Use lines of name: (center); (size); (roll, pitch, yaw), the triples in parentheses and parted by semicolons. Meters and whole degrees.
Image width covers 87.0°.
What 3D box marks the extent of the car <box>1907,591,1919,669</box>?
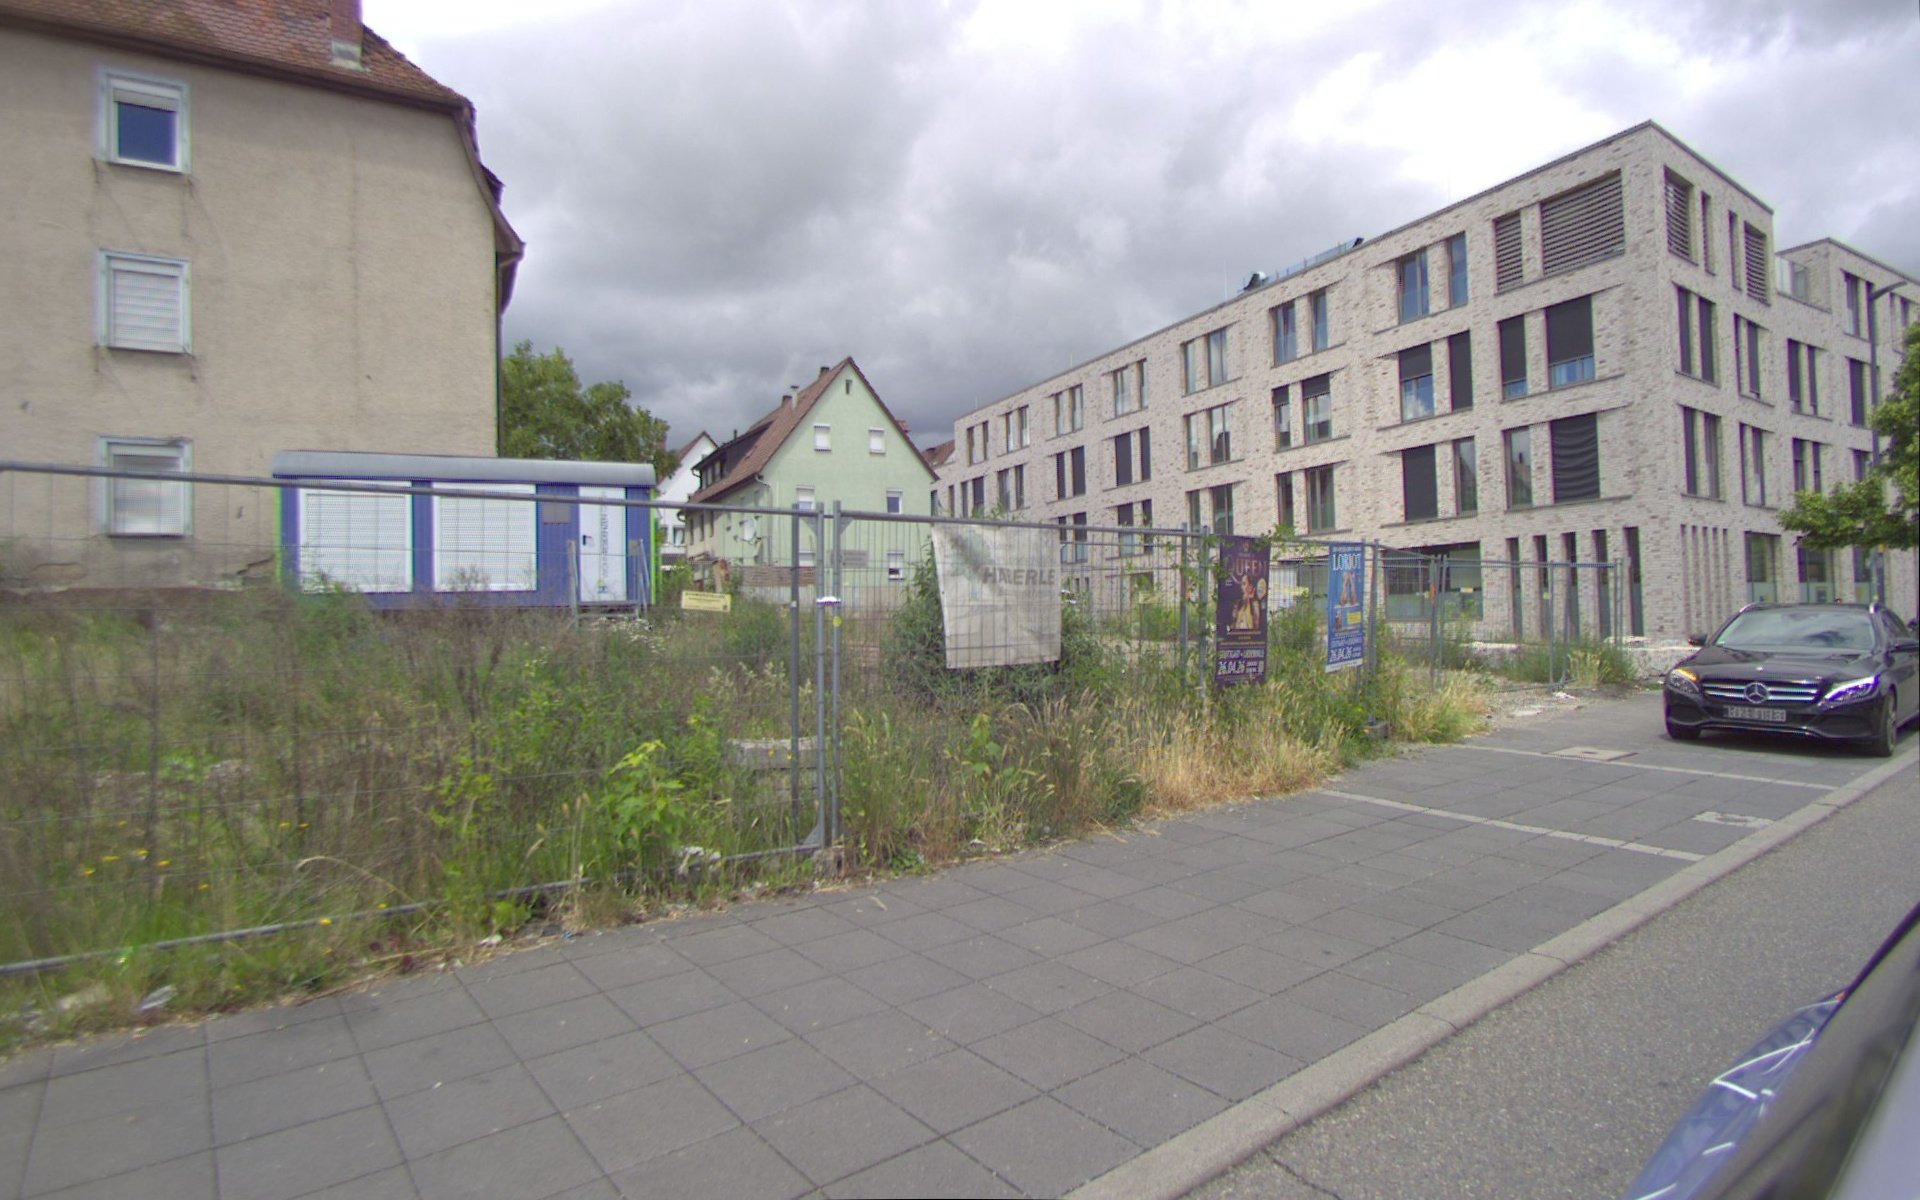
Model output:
car: (20.497, 0.550, 20.048); (4.559, 1.469, 1.869); (0, 0, -38)

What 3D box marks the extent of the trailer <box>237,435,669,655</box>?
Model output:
trailer: (-8.165, -0.809, 16.920); (6.033, 3.162, 2.416); (-1, -1, -25)

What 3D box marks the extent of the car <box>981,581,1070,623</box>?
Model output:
car: (2.604, 0.040, 41.375); (1.830, 1.626, 4.269); (1, 1, -24)

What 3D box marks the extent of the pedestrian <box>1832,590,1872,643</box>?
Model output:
pedestrian: (25.391, 0.469, 28.805); (0.775, 1.491, 0.610); (0, -1, -30)

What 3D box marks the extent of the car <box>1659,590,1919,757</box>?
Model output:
car: (9.391, 0.648, 11.064); (4.397, 1.470, 1.785); (0, 0, -40)

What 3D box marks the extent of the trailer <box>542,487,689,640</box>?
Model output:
trailer: (-8.411, -0.747, 24.248); (2.363, 3.162, 6.168); (0, 0, -28)

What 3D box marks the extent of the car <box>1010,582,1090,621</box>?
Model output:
car: (4.246, 0.046, 48.645); (1.830, 1.626, 4.269); (3, 0, -26)
